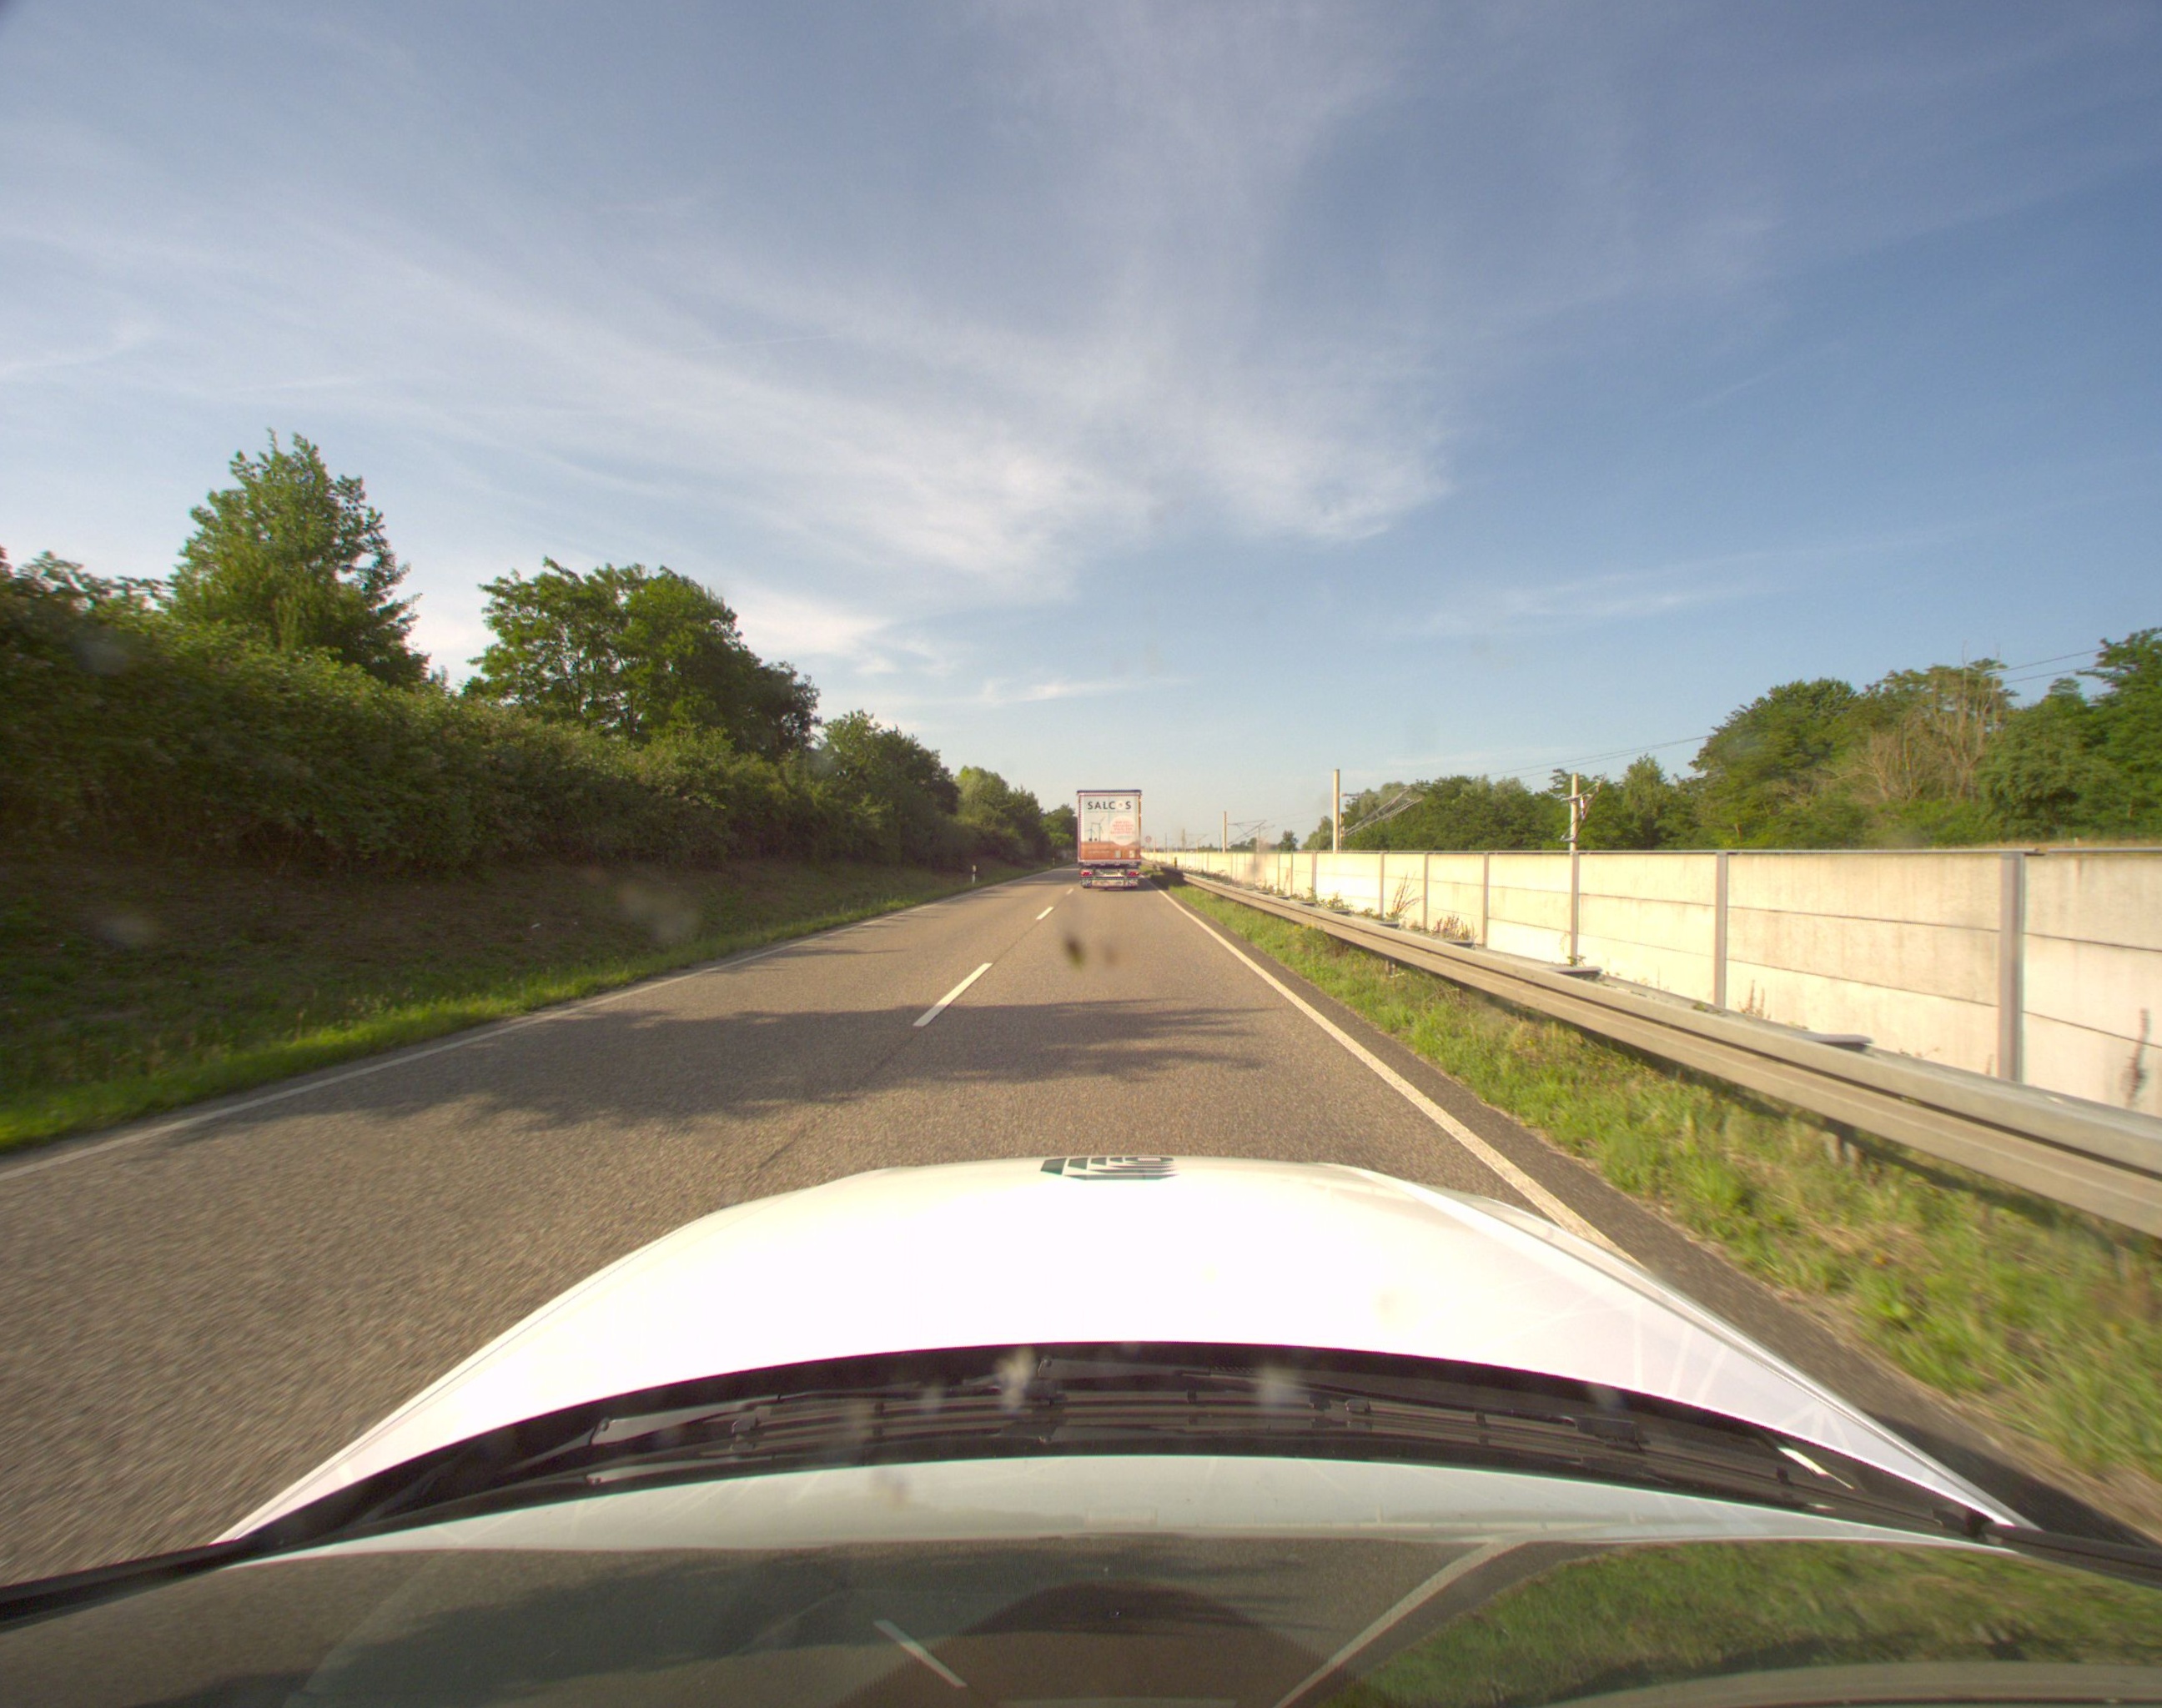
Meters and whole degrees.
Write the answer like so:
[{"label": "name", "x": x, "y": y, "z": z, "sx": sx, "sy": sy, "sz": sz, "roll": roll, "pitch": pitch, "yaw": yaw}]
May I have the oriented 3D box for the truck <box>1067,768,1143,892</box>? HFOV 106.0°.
[{"label": "truck", "x": 1.093, "y": -0.998, "z": 38.560, "sx": 3.022, "sy": 4.920, "sz": 11.687, "roll": -1, "pitch": 0, "yaw": 1}]
